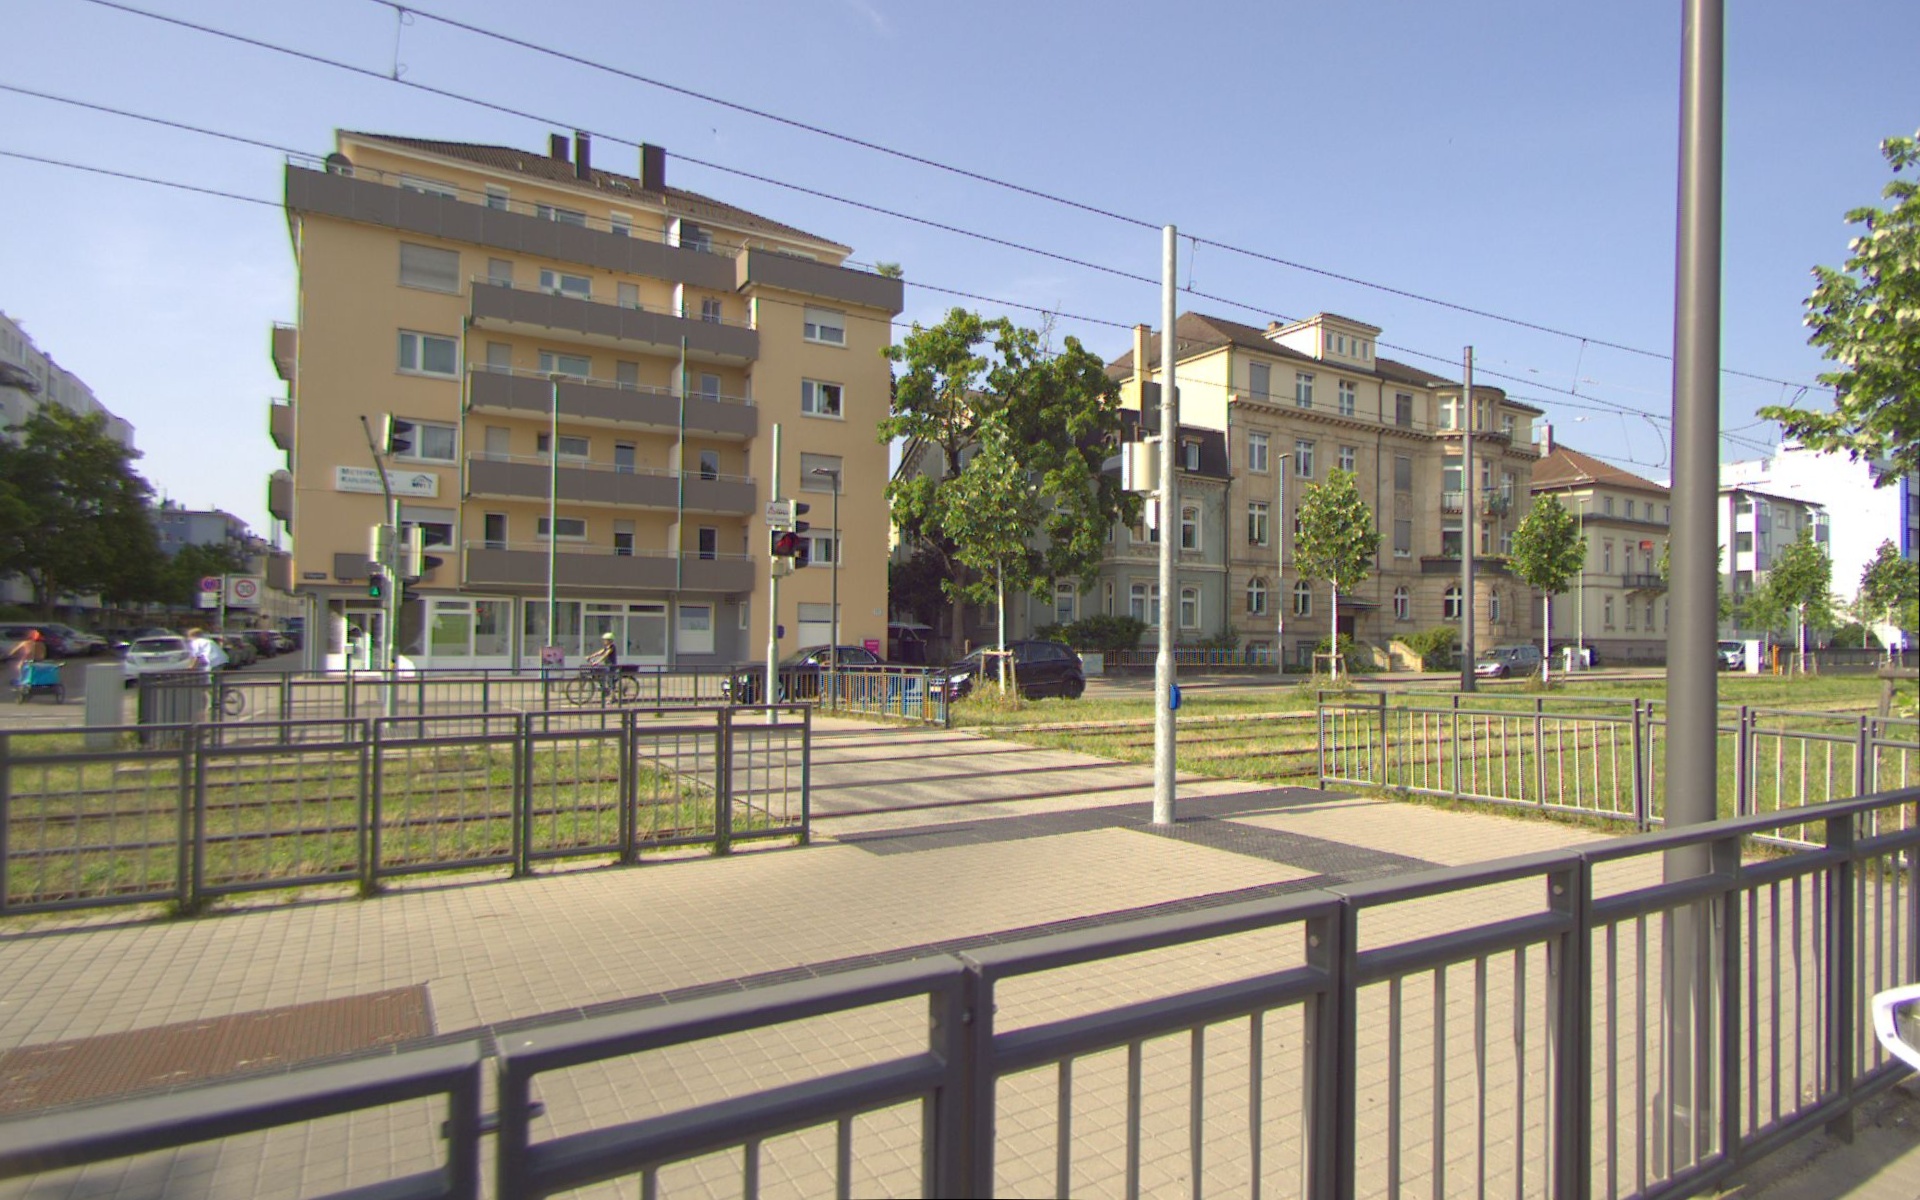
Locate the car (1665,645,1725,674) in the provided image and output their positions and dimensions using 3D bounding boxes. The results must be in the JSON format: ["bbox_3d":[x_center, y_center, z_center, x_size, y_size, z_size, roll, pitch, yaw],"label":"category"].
[{"bbox_3d":[41.530,3.344,56.738,3.783,1.483,1.510,0,-2,-33],"label":"car"}]

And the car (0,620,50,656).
[{"bbox_3d":[-44.038,1.707,45.376,3.954,1.639,1.984,2,-2,-31],"label":"car"}]

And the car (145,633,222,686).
[{"bbox_3d":[-26.850,2.018,34.819,1.756,1.711,3.765,2,-2,-33],"label":"car"}]

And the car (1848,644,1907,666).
[{"bbox_3d":[66.543,3.968,72.833,4.387,1.486,1.984,2,-2,-31],"label":"car"}]

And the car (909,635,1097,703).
[{"bbox_3d":[1.097,1.672,24.983,4.351,1.533,1.982,2,-2,-33],"label":"car"}]

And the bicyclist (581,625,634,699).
[{"bbox_3d":[-8.825,1.540,25.168,1.073,1.829,0.664,2,-2,-36],"label":"bicyclist"}]

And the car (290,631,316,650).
[{"bbox_3d":[-58.945,3.628,90.085,1.797,1.625,3.915,2,-2,-34],"label":"car"}]

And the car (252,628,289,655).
[{"bbox_3d":[-42.048,2.512,61.263,1.797,1.625,3.915,2,-2,-34],"label":"car"}]

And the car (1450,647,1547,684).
[{"bbox_3d":[24.715,2.963,46.074,4.479,1.597,1.983,2,-3,-32],"label":"car"}]

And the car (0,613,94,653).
[{"bbox_3d":[-48.338,1.721,52.781,3.954,2.040,1.984,2,-2,-31],"label":"car"}]

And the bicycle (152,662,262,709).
[{"bbox_3d":[-14.842,1.684,19.830,1.573,0.808,0.720,2,0,-3],"label":"bicycle"}]

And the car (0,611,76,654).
[{"bbox_3d":[-45.783,1.581,48.722,3.954,2.040,1.984,2,-2,-31],"label":"car"}]

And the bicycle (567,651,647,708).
[{"bbox_3d":[-8.828,1.965,25.158,1.741,1.364,0.690,2,-2,-36],"label":"bicycle"}]

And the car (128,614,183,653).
[{"bbox_3d":[-44.314,1.847,55.386,1.791,2.040,3.967,1,-2,-31],"label":"car"}]

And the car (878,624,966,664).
[{"bbox_3d":[-1.833,2.064,46.975,2.141,1.771,4.605,2,-3,-31],"label":"car"}]

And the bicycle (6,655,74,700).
[{"bbox_3d":[-22.535,1.875,24.580,2.953,0.978,0.896,-1,-3,41],"label":"bicycle"}]

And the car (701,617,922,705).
[{"bbox_3d":[-3.713,1.523,25.630,5.245,2.040,1.982,2,-2,-33],"label":"car"}]

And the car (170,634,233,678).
[{"bbox_3d":[-29.694,2.159,39.417,1.798,1.625,3.914,2,-2,-35],"label":"car"}]

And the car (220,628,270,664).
[{"bbox_3d":[-33.157,2.116,46.646,1.797,1.625,3.915,2,-2,-34],"label":"car"}]

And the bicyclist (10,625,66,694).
[{"bbox_3d":[-22.715,1.445,24.749,0.880,1.650,0.888,-1,-2,41],"label":"bicyclist"}]

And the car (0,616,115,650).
[{"bbox_3d":[-50.555,1.848,56.135,4.715,1.843,1.984,2,-2,-31],"label":"car"}]

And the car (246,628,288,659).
[{"bbox_3d":[-37.349,2.321,54.176,1.797,1.625,3.915,2,-2,-34],"label":"car"}]

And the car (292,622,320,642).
[{"bbox_3d":[-56.444,2.765,86.720,1.979,1.658,3.965,2,-2,-33],"label":"car"}]

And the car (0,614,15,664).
[{"bbox_3d":[-40.824,1.470,39.593,4.778,1.994,1.984,3,-3,-31],"label":"car"}]

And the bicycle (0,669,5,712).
[{"bbox_3d":[-19.150,1.718,19.134,1.964,0.804,0.629,0,-2,22],"label":"bicycle"}]

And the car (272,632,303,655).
[{"bbox_3d":[-50.547,3.259,75.481,1.797,1.625,3.915,2,-2,-34],"label":"car"}]

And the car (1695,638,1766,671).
[{"bbox_3d":[53.244,3.763,69.354,5.207,2.040,2.236,4,-1,-33],"label":"car"}]

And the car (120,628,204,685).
[{"bbox_3d":[-24.702,1.700,31.200,1.691,1.604,3.601,-1,-1,-33],"label":"car"}]

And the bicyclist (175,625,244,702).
[{"bbox_3d":[-14.805,1.241,19.827,0.790,1.459,0.687,2,0,-2],"label":"bicyclist"}]
